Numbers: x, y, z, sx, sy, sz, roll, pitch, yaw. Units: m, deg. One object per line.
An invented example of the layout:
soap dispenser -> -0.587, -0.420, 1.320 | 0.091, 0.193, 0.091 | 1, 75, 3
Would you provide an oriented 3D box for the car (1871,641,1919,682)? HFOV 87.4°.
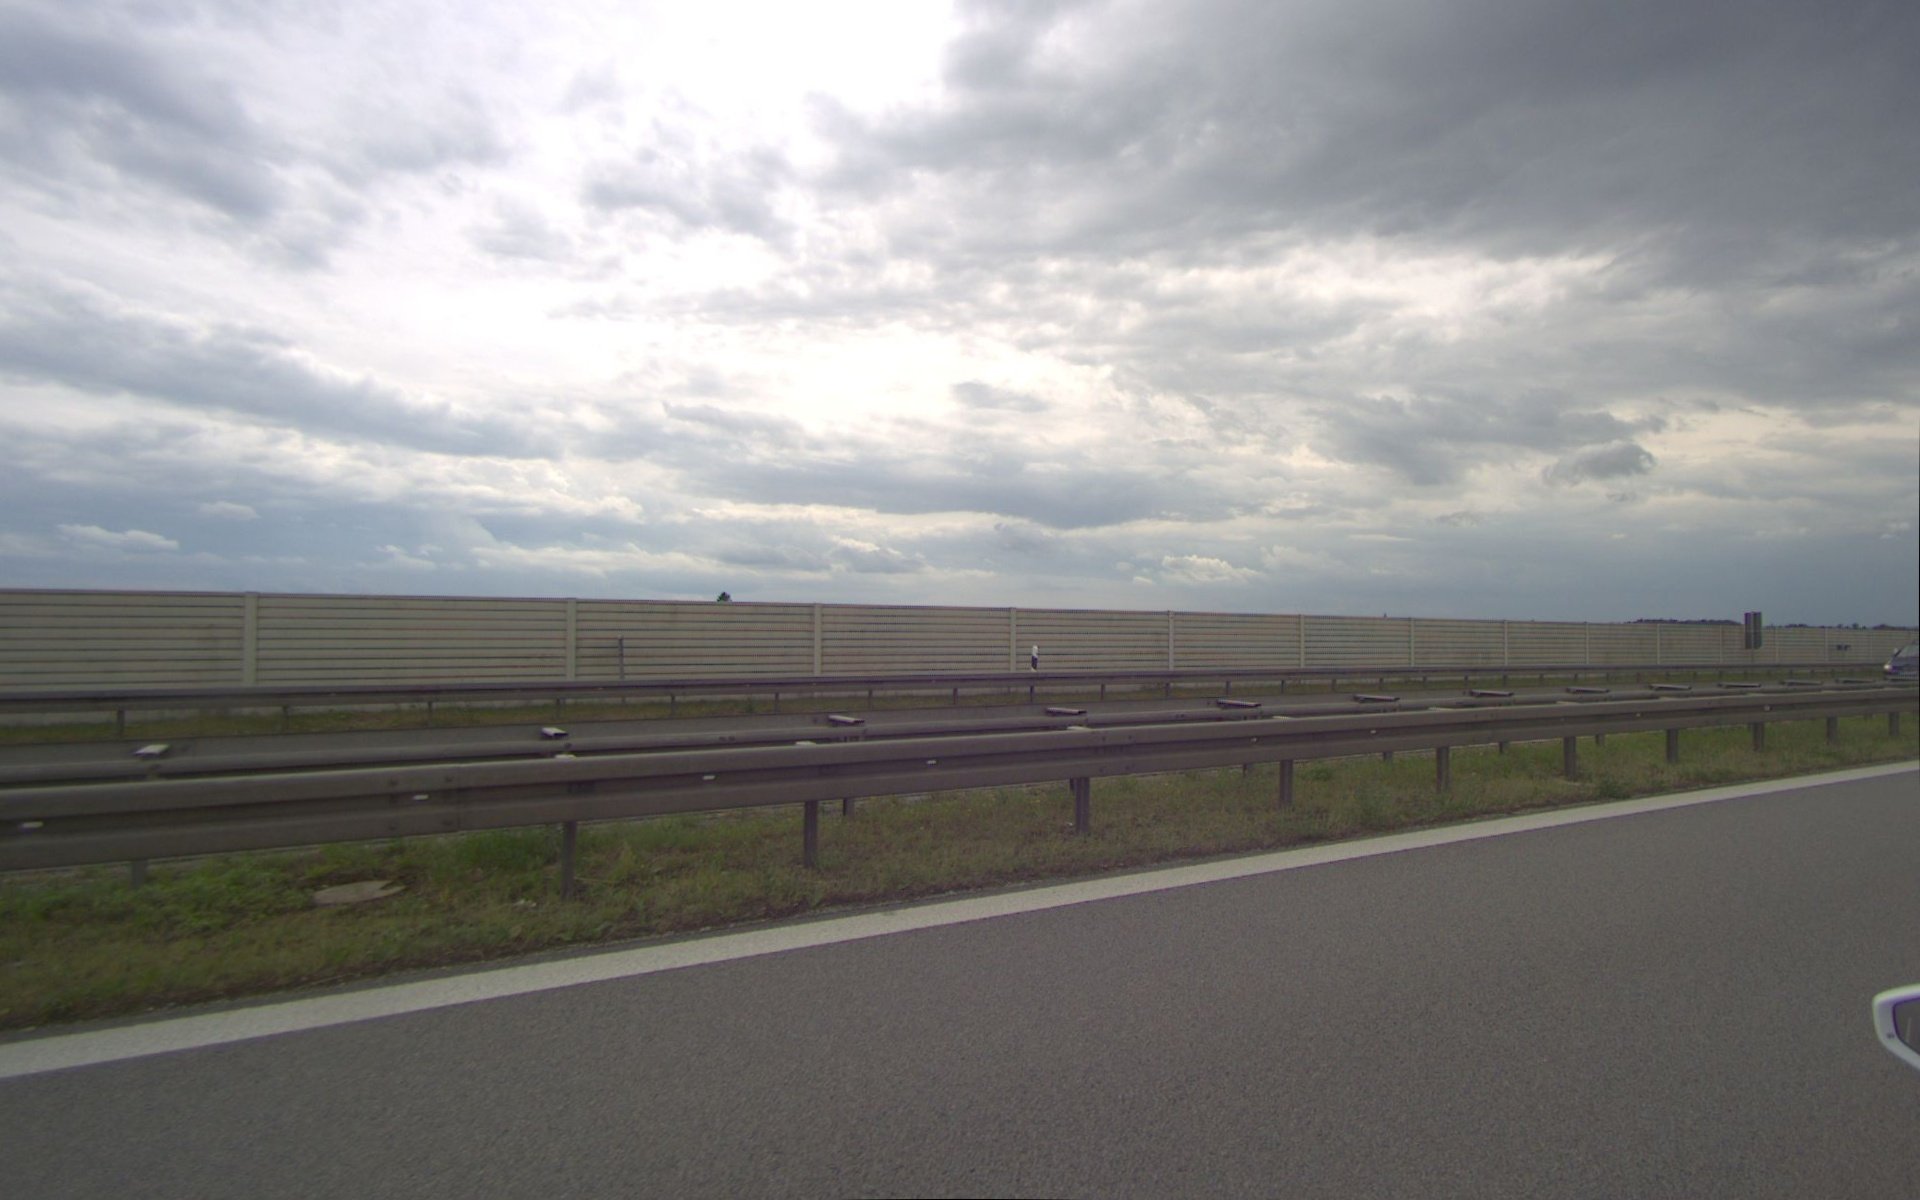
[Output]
car -> 33.899, 2.131, 35.139 | 4.555, 1.345, 1.652 | 1, -5, -30
